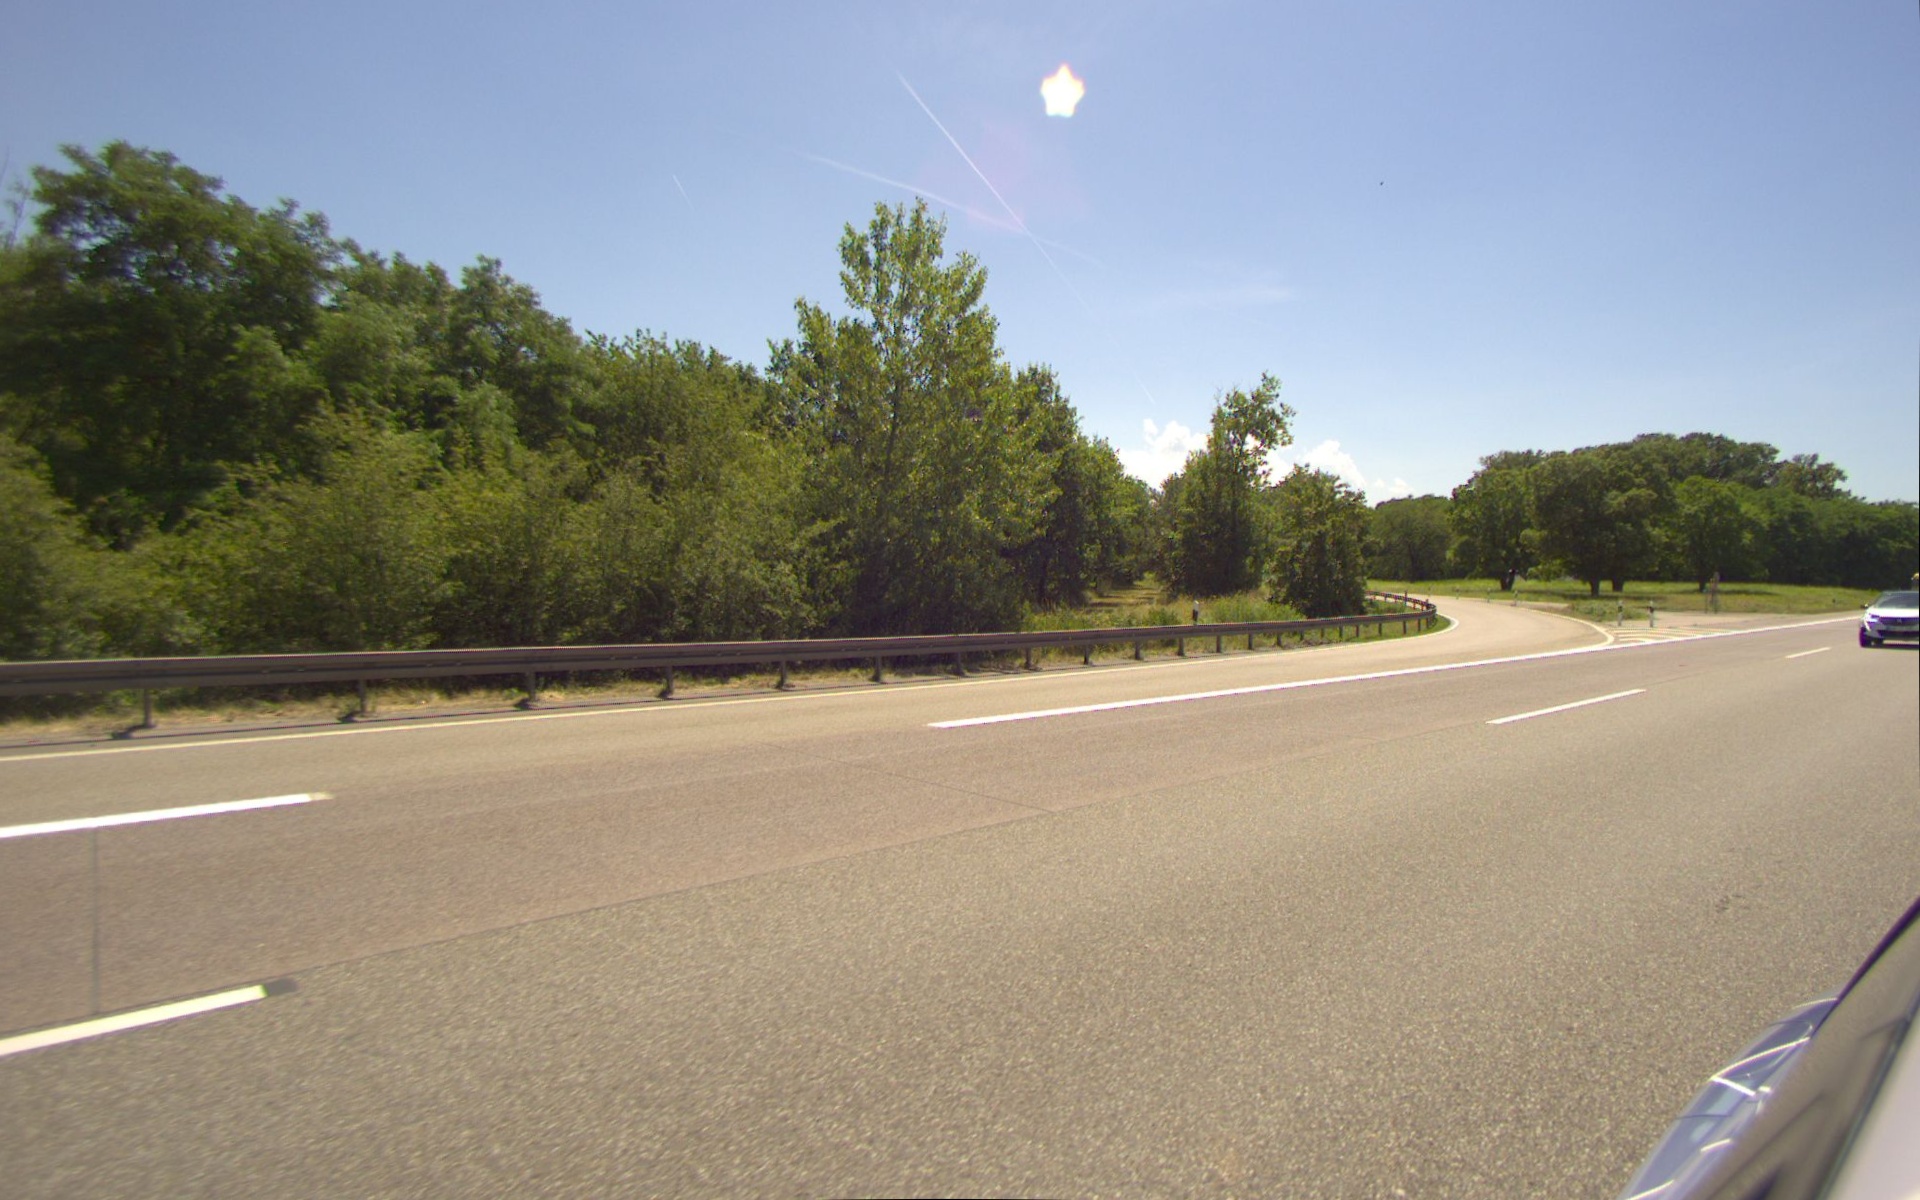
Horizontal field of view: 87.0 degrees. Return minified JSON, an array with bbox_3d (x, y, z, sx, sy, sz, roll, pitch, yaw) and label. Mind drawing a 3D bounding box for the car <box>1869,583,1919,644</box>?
[{"bbox_3d":[26.754,0.332,28.062,3.931,1.594,1.844,-1,1,-41],"label":"car"}]
